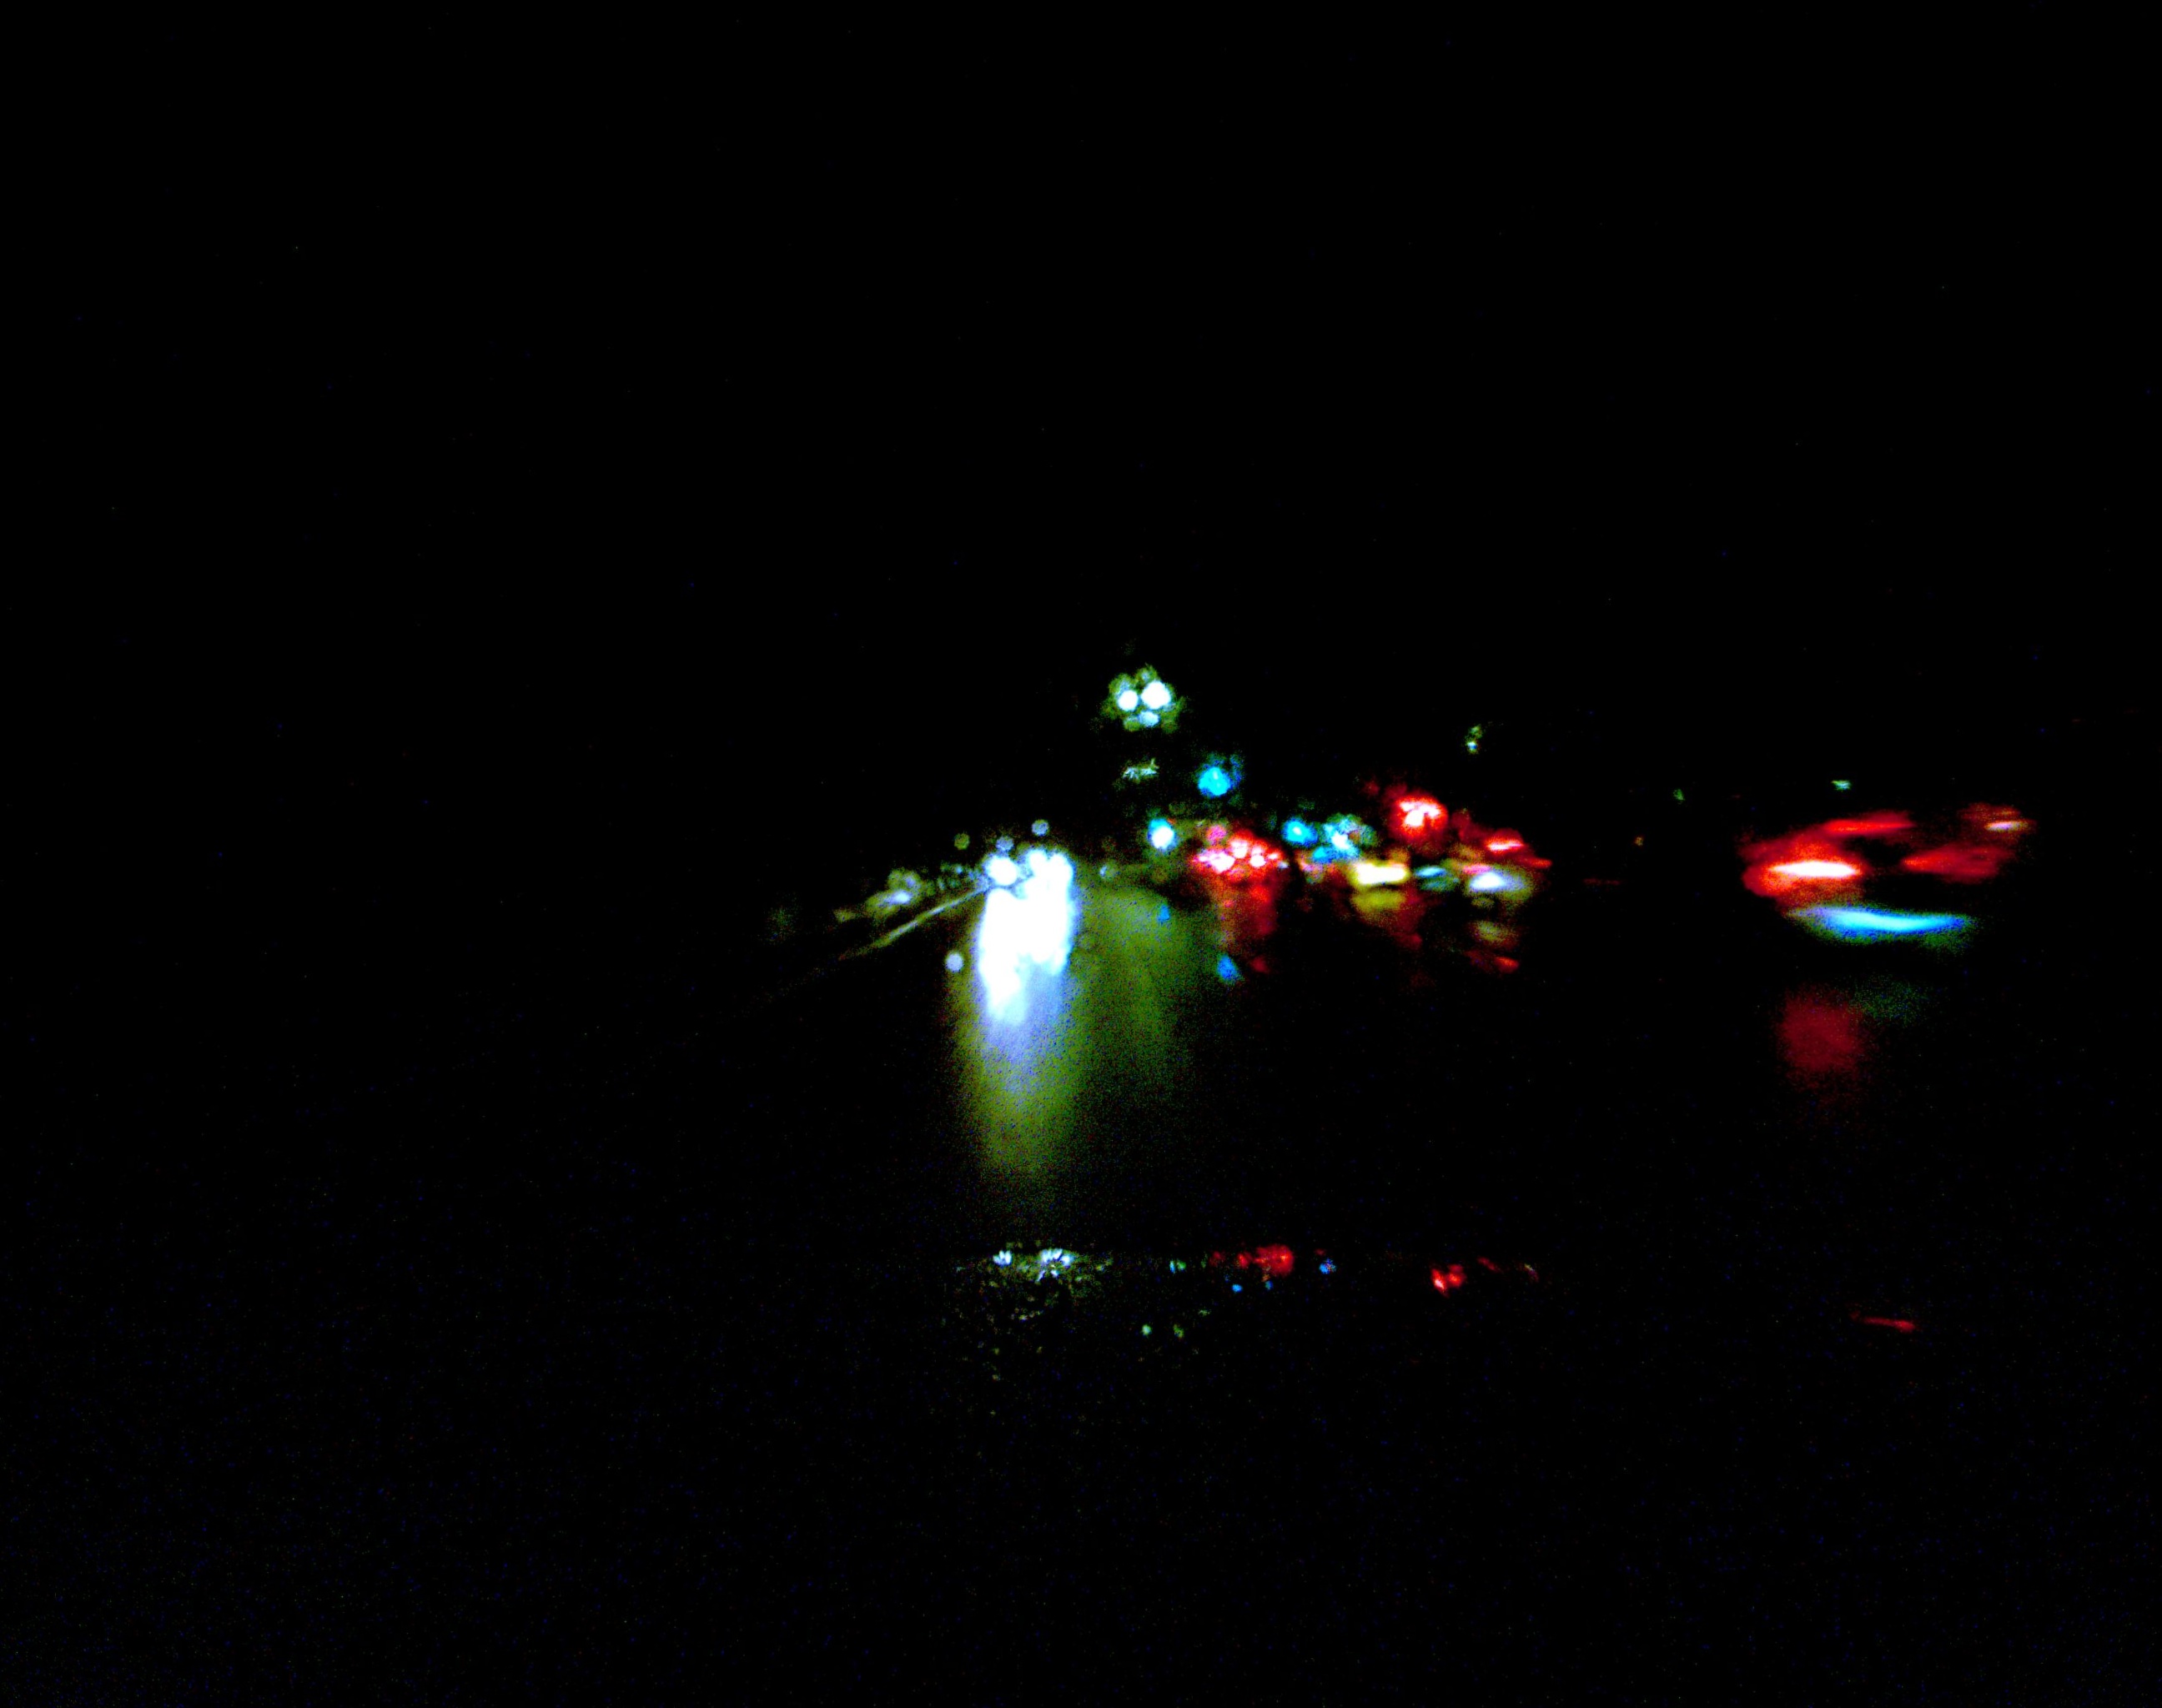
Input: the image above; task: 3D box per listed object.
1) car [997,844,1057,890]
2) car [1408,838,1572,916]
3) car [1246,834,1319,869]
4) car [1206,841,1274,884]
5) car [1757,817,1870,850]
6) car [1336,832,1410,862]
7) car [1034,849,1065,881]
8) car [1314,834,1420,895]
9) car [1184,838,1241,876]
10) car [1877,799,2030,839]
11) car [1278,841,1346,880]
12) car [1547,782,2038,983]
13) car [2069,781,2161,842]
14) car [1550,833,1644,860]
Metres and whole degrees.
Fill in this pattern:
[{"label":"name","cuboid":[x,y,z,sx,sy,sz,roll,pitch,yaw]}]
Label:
[{"label":"car","cuboid":[-2.116,0.469,31.047,1.878,1.579,4.888,-3,1,2]},{"label":"car","cuboid":[9.095,0.447,17.281,1.970,1.520,3.689,-3,1,6]},{"label":"car","cuboid":[10.127,-0.139,38.656,2.364,1.547,5.159,-3,1,1]},{"label":"car","cuboid":[6.630,0.293,32.178,1.962,1.562,4.465,-3,1,1]},{"label":"car","cuboid":[40.088,-1.086,41.687,2.003,1.582,3.991,-3,1,-28]},{"label":"car","cuboid":[19.532,-0.478,51.037,4.514,1.833,2.003,-1,1,19]},{"label":"car","cuboid":[-1.990,0.646,48.510,1.795,1.802,4.197,-3,1,-2]},{"label":"car","cuboid":[9.258,0.293,25.038,1.998,1.736,4.499,-3,1,4]},{"label":"car","cuboid":[6.517,0.096,38.267,1.998,1.688,5.011,-3,1,1]},{"label":"car","cuboid":[41.708,-1.626,36.497,1.852,1.683,4.443,-3,1,-14]},{"label":"car","cuboid":[9.575,0.223,31.809,1.827,1.444,3.601,-3,1,2]},{"label":"car","cuboid":[8.904,0.271,10.381,2.159,2.002,4.995,-3,1,3]},{"label":"car","cuboid":[42.138,-1.659,28.704,1.998,2.294,6.022,-3,1,3]},{"label":"car","cuboid":[30.441,-0.448,44.914,4.492,1.357,1.669,-2,2,36]}]
